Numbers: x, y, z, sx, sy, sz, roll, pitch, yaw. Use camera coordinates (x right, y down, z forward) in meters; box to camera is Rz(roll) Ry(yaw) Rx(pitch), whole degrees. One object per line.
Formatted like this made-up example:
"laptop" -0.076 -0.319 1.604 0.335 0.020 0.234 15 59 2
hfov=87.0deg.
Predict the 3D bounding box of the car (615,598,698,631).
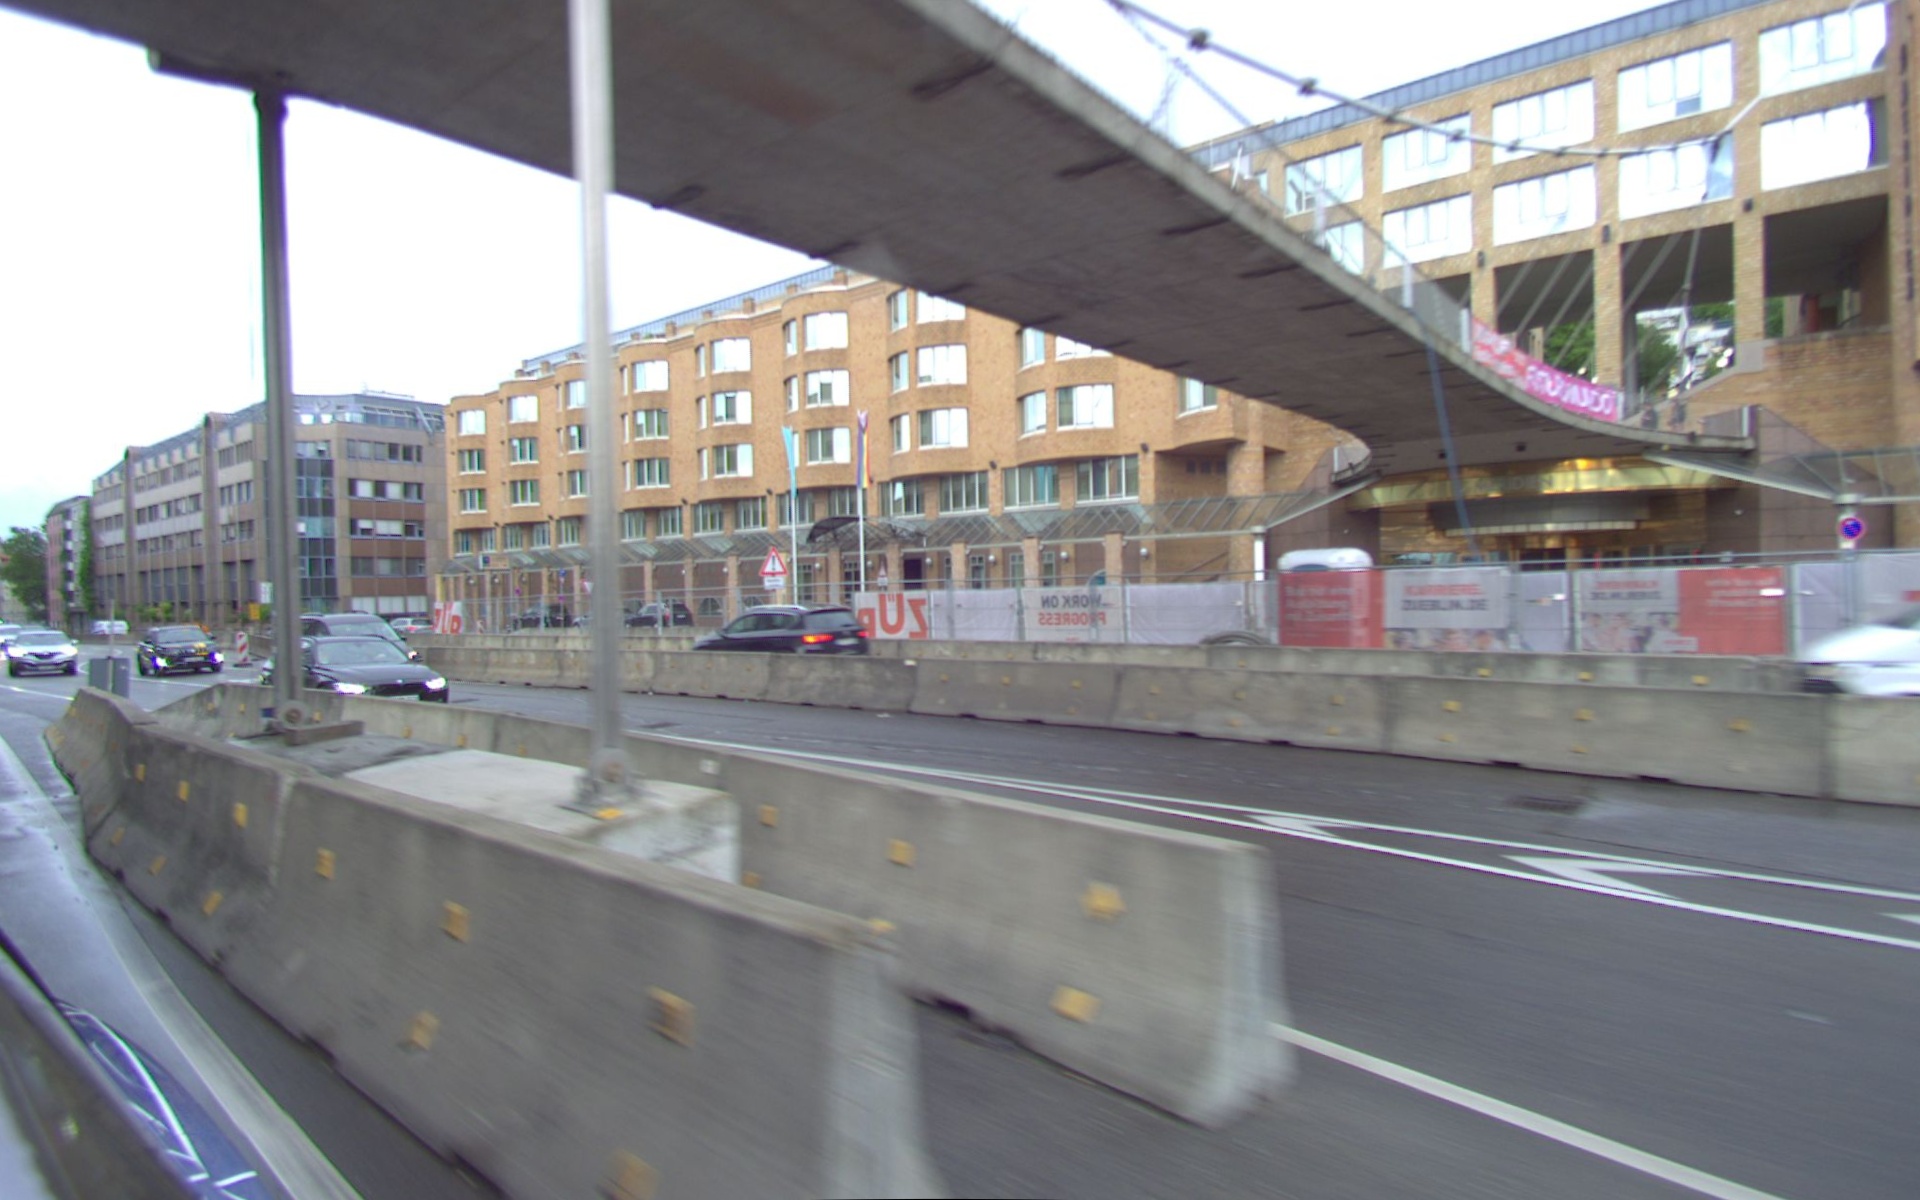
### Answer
"car" -17.237 0.819 57.381 5.043 1.703 1.975 -2 0 38

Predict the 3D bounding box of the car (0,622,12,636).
"car" -130.199 3.916 137.364 4.876 1.797 1.866 -2 0 42

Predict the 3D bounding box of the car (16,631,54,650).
"car" -80.026 3.508 87.512 4.651 1.545 1.750 -2 0 39

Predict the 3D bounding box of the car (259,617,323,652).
"car" -33.851 1.739 51.179 1.970 1.635 4.707 -1 -1 -43

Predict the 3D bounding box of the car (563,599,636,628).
"car" -21.673 0.834 60.739 4.533 1.606 1.975 -2 0 37

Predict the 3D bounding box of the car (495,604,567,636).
"car" -27.620 1.271 65.101 5.006 1.900 1.975 -2 0 37

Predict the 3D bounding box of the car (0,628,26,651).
"car" -70.728 2.939 74.883 4.651 1.545 1.750 -2 0 39

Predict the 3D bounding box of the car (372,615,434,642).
"car" -33.546 1.747 60.883 4.359 1.538 1.743 -2 -1 39

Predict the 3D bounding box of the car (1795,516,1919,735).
"car" 10.010 0.133 7.885 5.299 1.835 1.786 -3 -1 42

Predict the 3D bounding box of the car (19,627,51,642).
"car" -99.917 3.711 109.275 4.224 1.470 1.974 -2 0 40

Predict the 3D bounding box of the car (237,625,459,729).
"car" -10.427 1.218 17.090 4.651 1.454 1.750 -2 0 40

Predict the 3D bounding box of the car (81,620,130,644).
"car" -72.832 2.744 86.254 4.858 1.899 1.977 -2 0 35

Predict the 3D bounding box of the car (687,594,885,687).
"car" -3.496 0.778 19.938 3.902 1.635 1.786 -3 -1 42

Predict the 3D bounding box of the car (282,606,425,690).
"car" -14.820 1.114 24.642 4.249 1.814 1.775 -2 0 42

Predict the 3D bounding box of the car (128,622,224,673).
"car" -26.498 1.579 34.159 4.354 1.545 1.749 -2 0 42

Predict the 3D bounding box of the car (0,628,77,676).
"car" -33.739 1.860 36.948 4.656 1.545 1.749 -2 0 43
